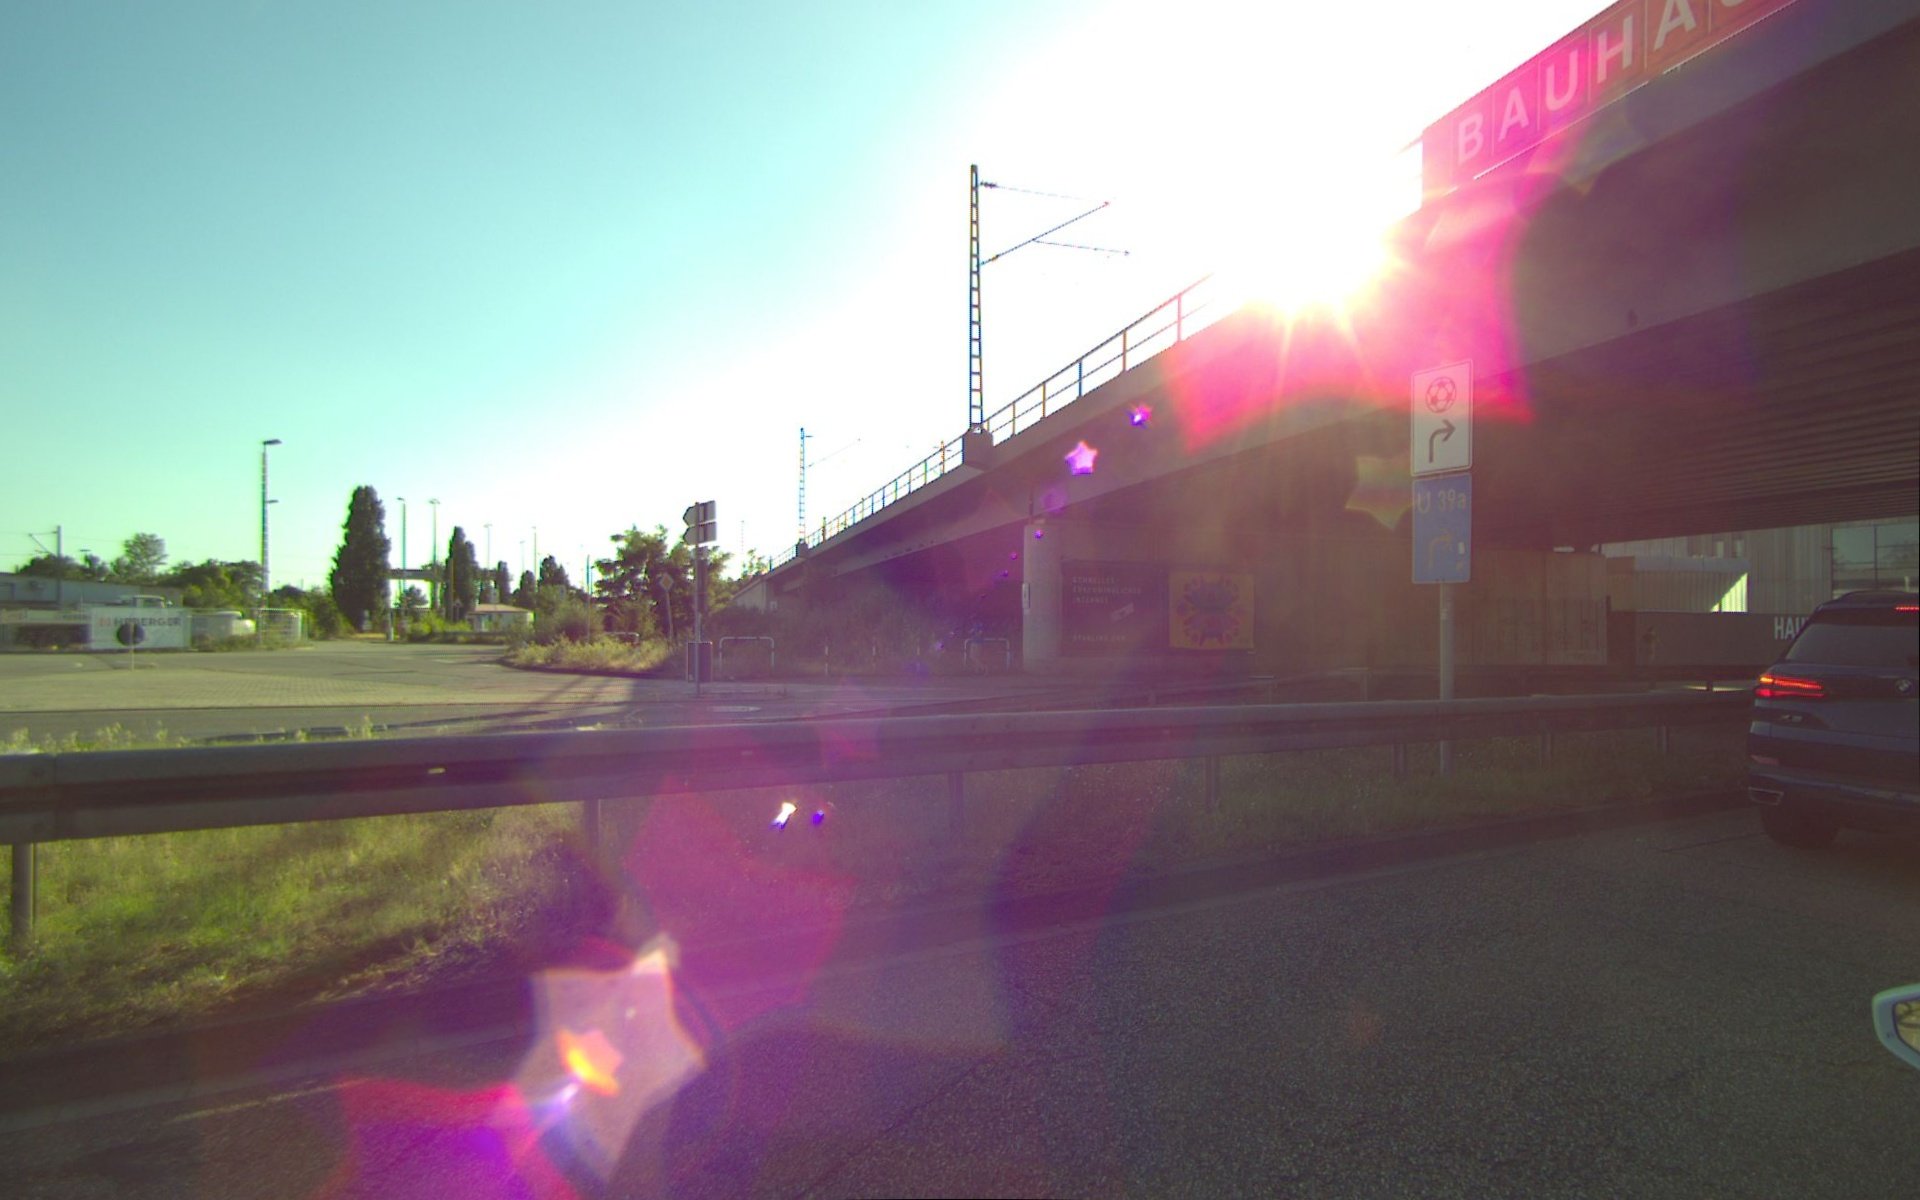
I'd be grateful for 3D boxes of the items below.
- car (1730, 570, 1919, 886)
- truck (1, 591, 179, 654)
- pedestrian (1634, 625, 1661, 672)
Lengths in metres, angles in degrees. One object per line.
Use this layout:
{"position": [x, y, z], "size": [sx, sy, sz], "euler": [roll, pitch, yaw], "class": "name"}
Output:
{"position": [7.266, 0.799, 6.696], "size": [4.408, 1.761, 1.821], "euler": [3, -2, -29], "class": "car"}
{"position": [-46.749, 1.267, 54.229], "size": [2.393, 3.186, 6.775], "euler": [1, -2, 25], "class": "truck"}
{"position": [28.857, 2.027, 42.156], "size": [0.656, 1.928, 0.692], "euler": [2, -1, -25], "class": "pedestrian"}
